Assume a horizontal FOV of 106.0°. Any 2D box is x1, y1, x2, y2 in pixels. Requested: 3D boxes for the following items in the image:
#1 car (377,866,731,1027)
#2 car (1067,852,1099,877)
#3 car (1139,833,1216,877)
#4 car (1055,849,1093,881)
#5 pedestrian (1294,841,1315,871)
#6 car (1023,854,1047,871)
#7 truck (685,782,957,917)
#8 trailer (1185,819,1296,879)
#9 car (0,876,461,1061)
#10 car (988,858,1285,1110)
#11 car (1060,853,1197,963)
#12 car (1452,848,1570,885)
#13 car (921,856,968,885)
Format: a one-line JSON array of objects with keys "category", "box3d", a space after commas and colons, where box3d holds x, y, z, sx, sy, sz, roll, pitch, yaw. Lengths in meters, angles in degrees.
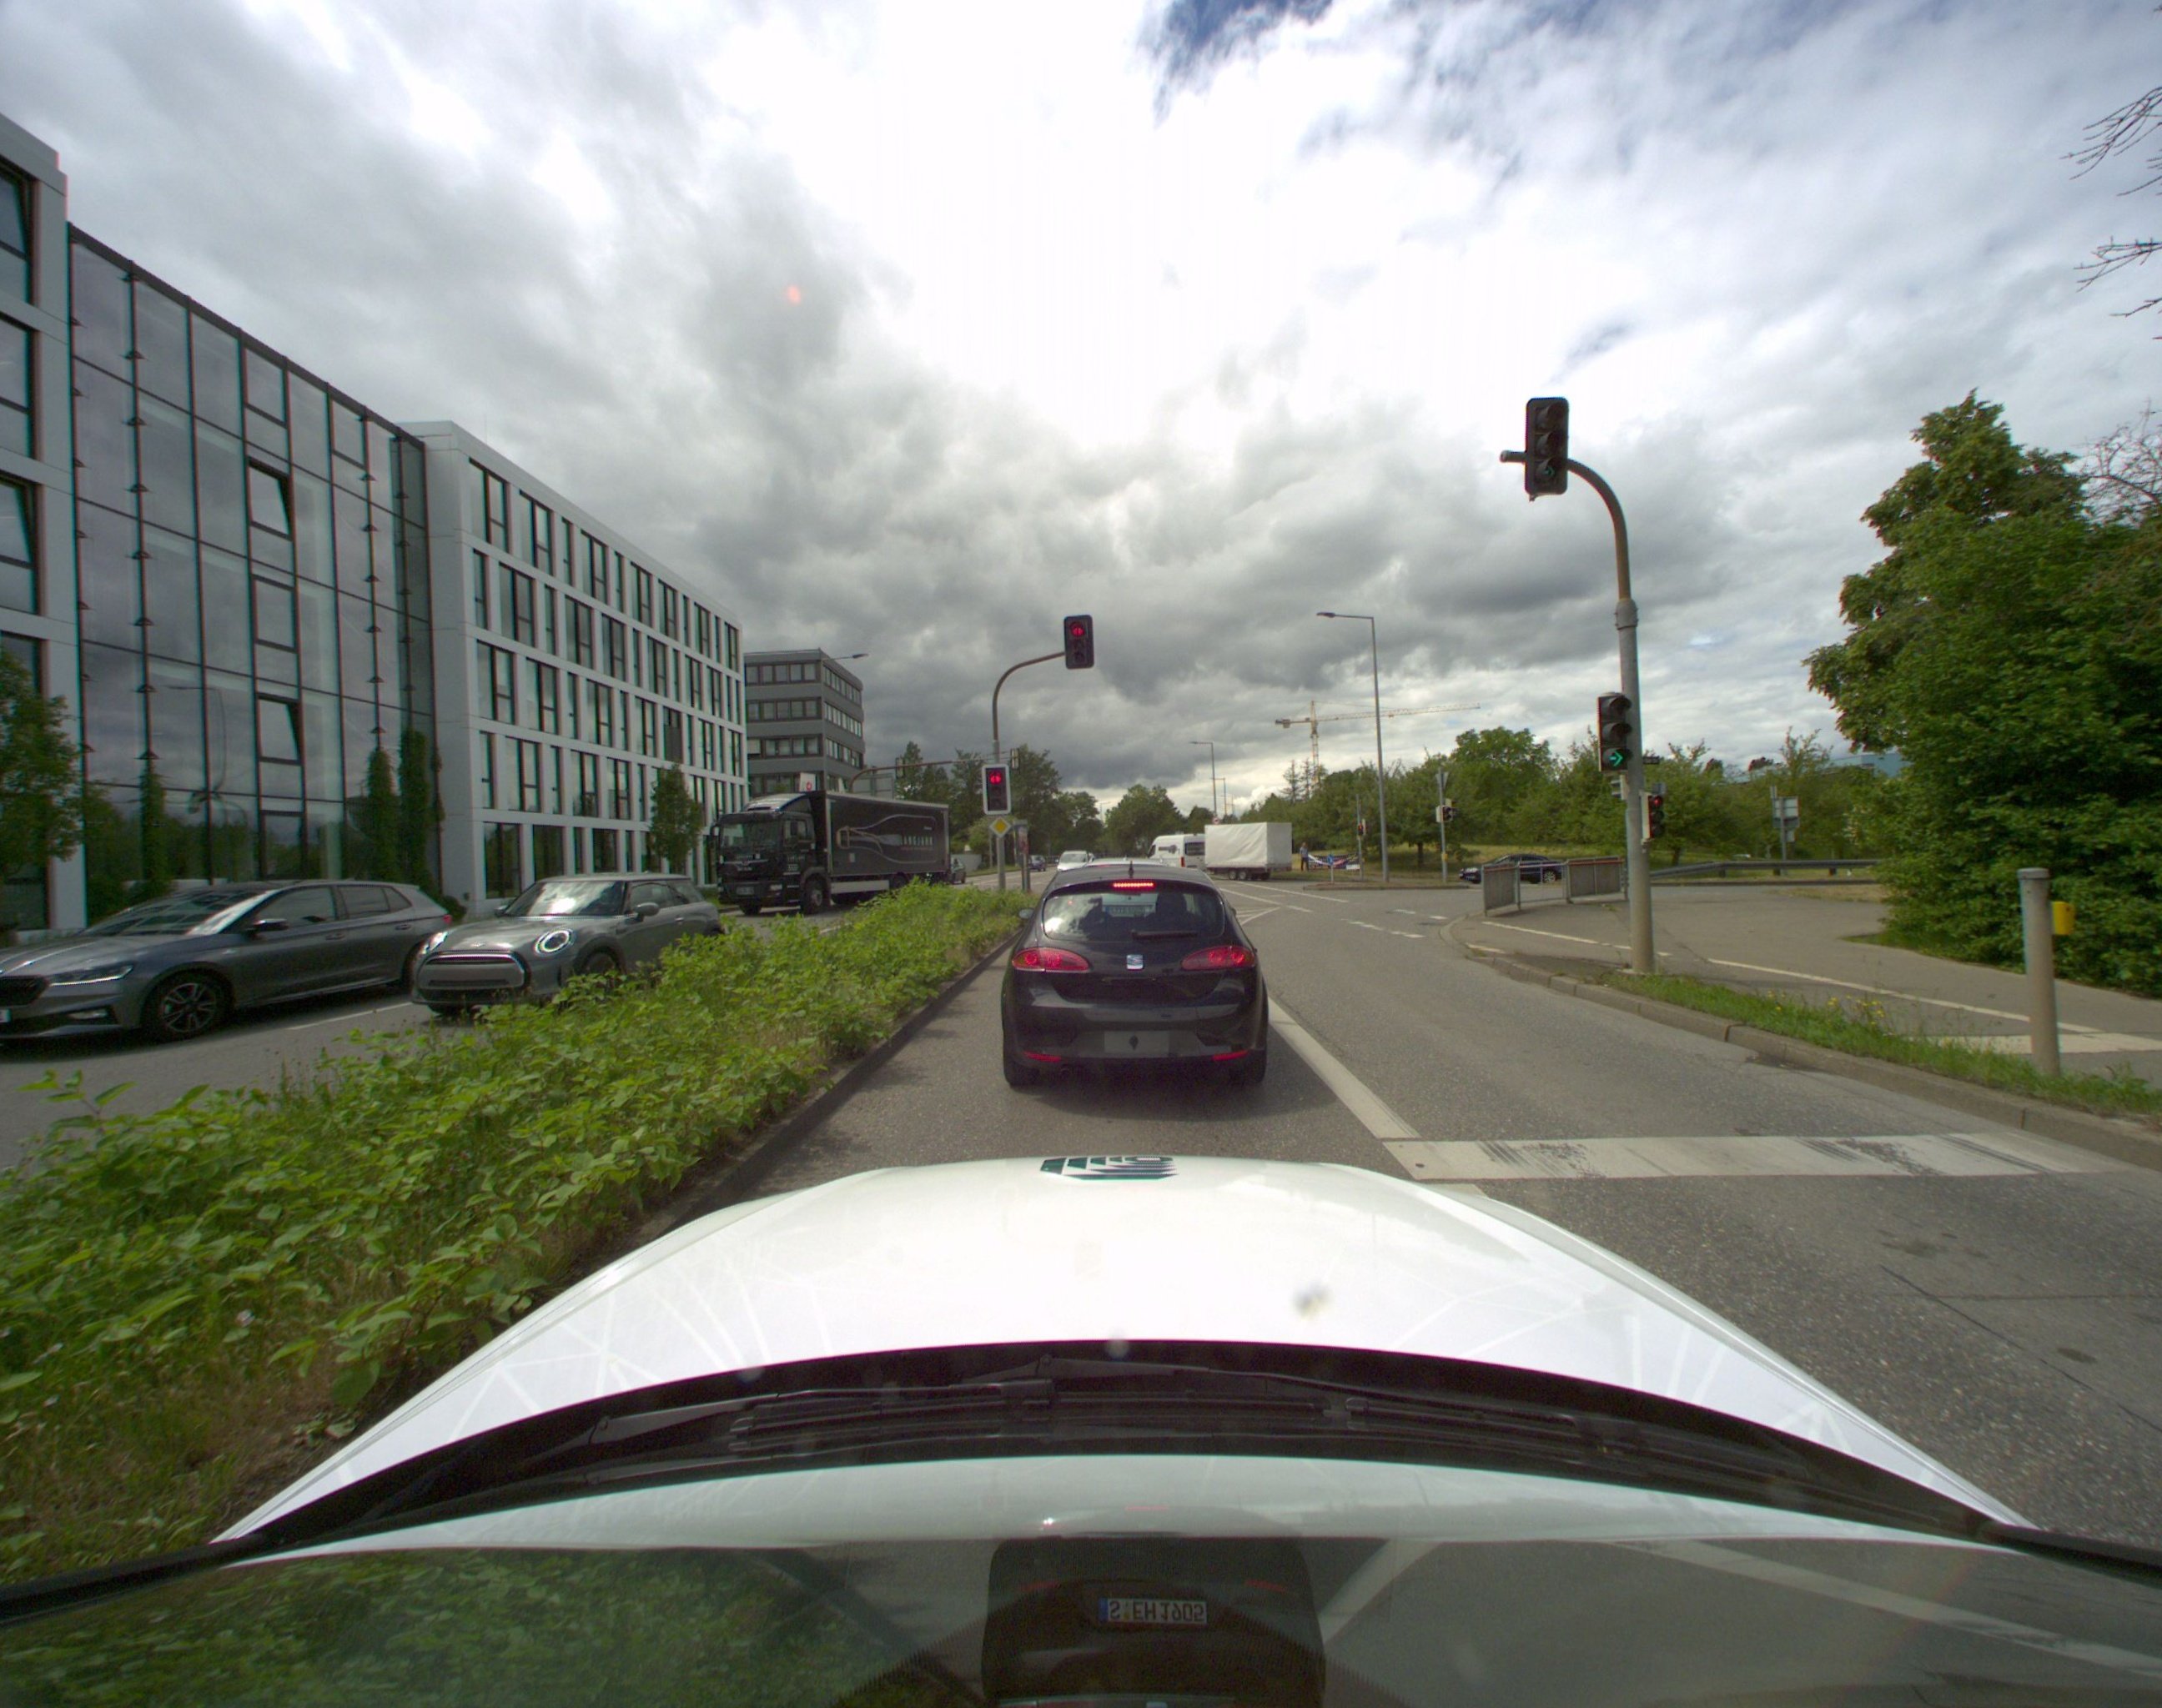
[{"category": "car", "box3d": [-5.832, 0.915, 9.620, 1.683, 1.430, 3.637, -2, 0, 2]}, {"category": "car", "box3d": [0.184, 0.645, 52.432, 1.652, 1.518, 4.091, -1, 0, 6]}, {"category": "car", "box3d": [5.703, 0.083, 49.135, 2.135, 2.518, 5.793, 0, -1, -21]}, {"category": "car", "box3d": [-0.364, 0.596, 46.363, 1.812, 1.686, 4.650, 0, 0, 4]}, {"category": "pedestrian", "box3d": [13.438, 0.107, 48.961, 0.721, 1.793, 1.035, 0, -1, -25]}, {"category": "car", "box3d": [-4.016, 0.729, 71.293, 1.546, 1.419, 3.902, -1, 0, 5]}, {"category": "truck", "box3d": [-7.721, -0.157, 26.228, 3.141, 3.518, 9.574, 0, 0, 20]}, {"category": "trailer", "box3d": [8.582, -0.234, 44.244, 2.513, 3.073, 5.518, 0, -1, -43]}, {"category": "car", "box3d": [-8.924, 1.018, 8.668, 1.547, 1.383, 3.783, -2, 0, 4]}, {"category": "car", "box3d": [0.380, 0.766, 6.458, 1.704, 1.417, 3.461, -1, 0, 2]}, {"category": "car", "box3d": [0.736, 0.737, 12.799, 1.827, 1.467, 3.754, 0, 0, 3]}, {"category": "car", "box3d": [20.115, 0.577, 38.260, 4.433, 1.565, 2.004, -2, 0, 6]}, {"category": "car", "box3d": [-7.289, 0.868, 43.705, 1.598, 1.432, 3.757, -1, 0, 4]}]
